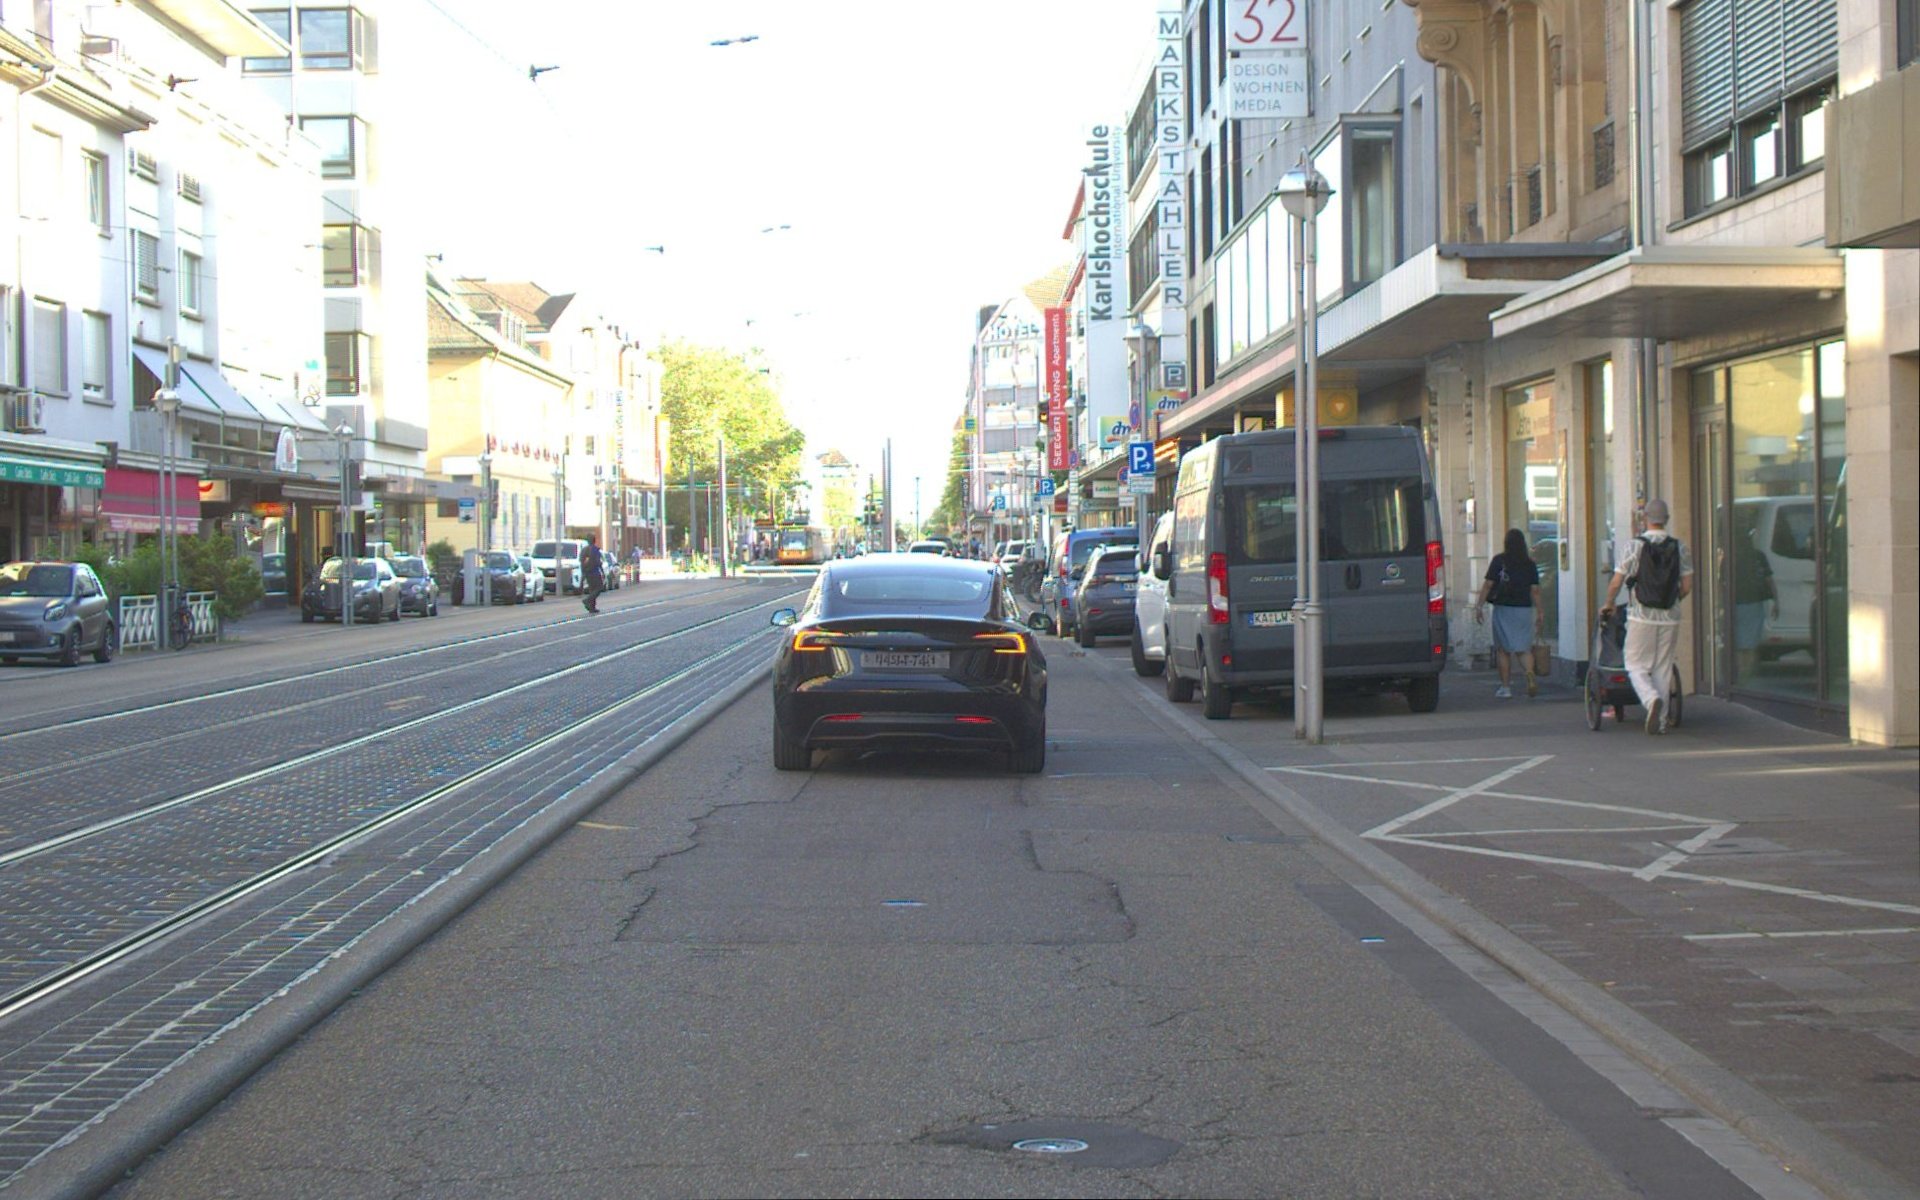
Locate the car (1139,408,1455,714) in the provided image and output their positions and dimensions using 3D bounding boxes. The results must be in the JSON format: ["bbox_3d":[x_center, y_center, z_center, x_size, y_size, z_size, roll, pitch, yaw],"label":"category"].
[{"bbox_3d":[2.947,-0.384,31.304,2.171,2.453,5.362,-2,1,-1],"label":"car"}]

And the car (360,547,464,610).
[{"bbox_3d":[-13.681,-0.546,86.039,1.770,1.503,3.860,-1,1,3],"label":"car"}]

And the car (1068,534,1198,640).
[{"bbox_3d":[2.571,-0.225,51.791,1.751,1.494,3.754,-1,1,0],"label":"car"}]

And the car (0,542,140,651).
[{"bbox_3d":[-13.700,-0.088,51.812,1.675,1.540,3.743,1,1,2],"label":"car"}]

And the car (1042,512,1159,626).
[{"bbox_3d":[2.339,-0.549,57.925,1.821,1.864,3.754,0,1,0],"label":"car"}]

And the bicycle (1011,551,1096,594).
[{"bbox_3d":[2.445,-0.716,90.003,2.159,1.093,0.686,-1,1,-2],"label":"bicycle"}]

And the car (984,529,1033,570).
[{"bbox_3d":[2.051,-2.150,147.312,1.993,1.747,4.000,0,0,0],"label":"car"}]

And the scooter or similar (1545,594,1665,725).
[{"bbox_3d":[4.926,0.440,26.298,0.593,0.933,1.299,-3,1,-2],"label":"scooter or similar"}]

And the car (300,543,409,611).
[{"bbox_3d":[-14.044,-0.557,79.904,1.770,1.503,3.864,-1,1,1],"label":"car"}]

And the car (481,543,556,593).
[{"bbox_3d":[-14.006,-1.034,109.220,1.770,1.503,3.972,-1,1,2],"label":"car"}]

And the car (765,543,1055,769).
[{"bbox_3d":[-0.315,0.326,24.380,1.869,1.422,4.364,0,1,0],"label":"car"}]

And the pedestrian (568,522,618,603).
[{"bbox_3d":[-8.452,-0.873,79.163,0.772,1.842,0.827,0,1,30],"label":"pedestrian"}]

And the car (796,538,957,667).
[{"bbox_3d":[-0.975,0.010,40.294,1.761,1.414,4.355,-1,0,-1],"label":"car"}]

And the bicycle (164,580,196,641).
[{"bbox_3d":[-13.318,0.172,58.686,0.368,0.999,1.605,-1,1,-18],"label":"bicycle"}]

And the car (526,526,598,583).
[{"bbox_3d":[-14.169,-1.646,122.593,2.009,1.954,4.725,-1,1,0],"label":"car"}]

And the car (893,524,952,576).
[{"bbox_3d":[-1.340,-1.832,125.254,2.085,1.864,3.754,0,1,0],"label":"car"}]

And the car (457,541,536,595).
[{"bbox_3d":[-13.905,-0.971,103.299,1.718,1.566,3.849,-1,1,2],"label":"car"}]

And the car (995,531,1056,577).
[{"bbox_3d":[2.244,-1.578,118.816,1.993,1.537,4.000,0,0,0],"label":"car"}]

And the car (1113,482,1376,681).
[{"bbox_3d":[3.055,-0.240,37.945,2.158,1.920,4.618,-4,1,-3],"label":"car"}]

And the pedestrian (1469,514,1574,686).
[{"bbox_3d":[5.188,-0.009,31.809,0.769,1.538,0.804,-3,1,0],"label":"pedestrian"}]

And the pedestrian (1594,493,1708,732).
[{"bbox_3d":[5.101,0.081,25.412,0.556,1.708,0.955,-3,1,-1],"label":"pedestrian"}]
